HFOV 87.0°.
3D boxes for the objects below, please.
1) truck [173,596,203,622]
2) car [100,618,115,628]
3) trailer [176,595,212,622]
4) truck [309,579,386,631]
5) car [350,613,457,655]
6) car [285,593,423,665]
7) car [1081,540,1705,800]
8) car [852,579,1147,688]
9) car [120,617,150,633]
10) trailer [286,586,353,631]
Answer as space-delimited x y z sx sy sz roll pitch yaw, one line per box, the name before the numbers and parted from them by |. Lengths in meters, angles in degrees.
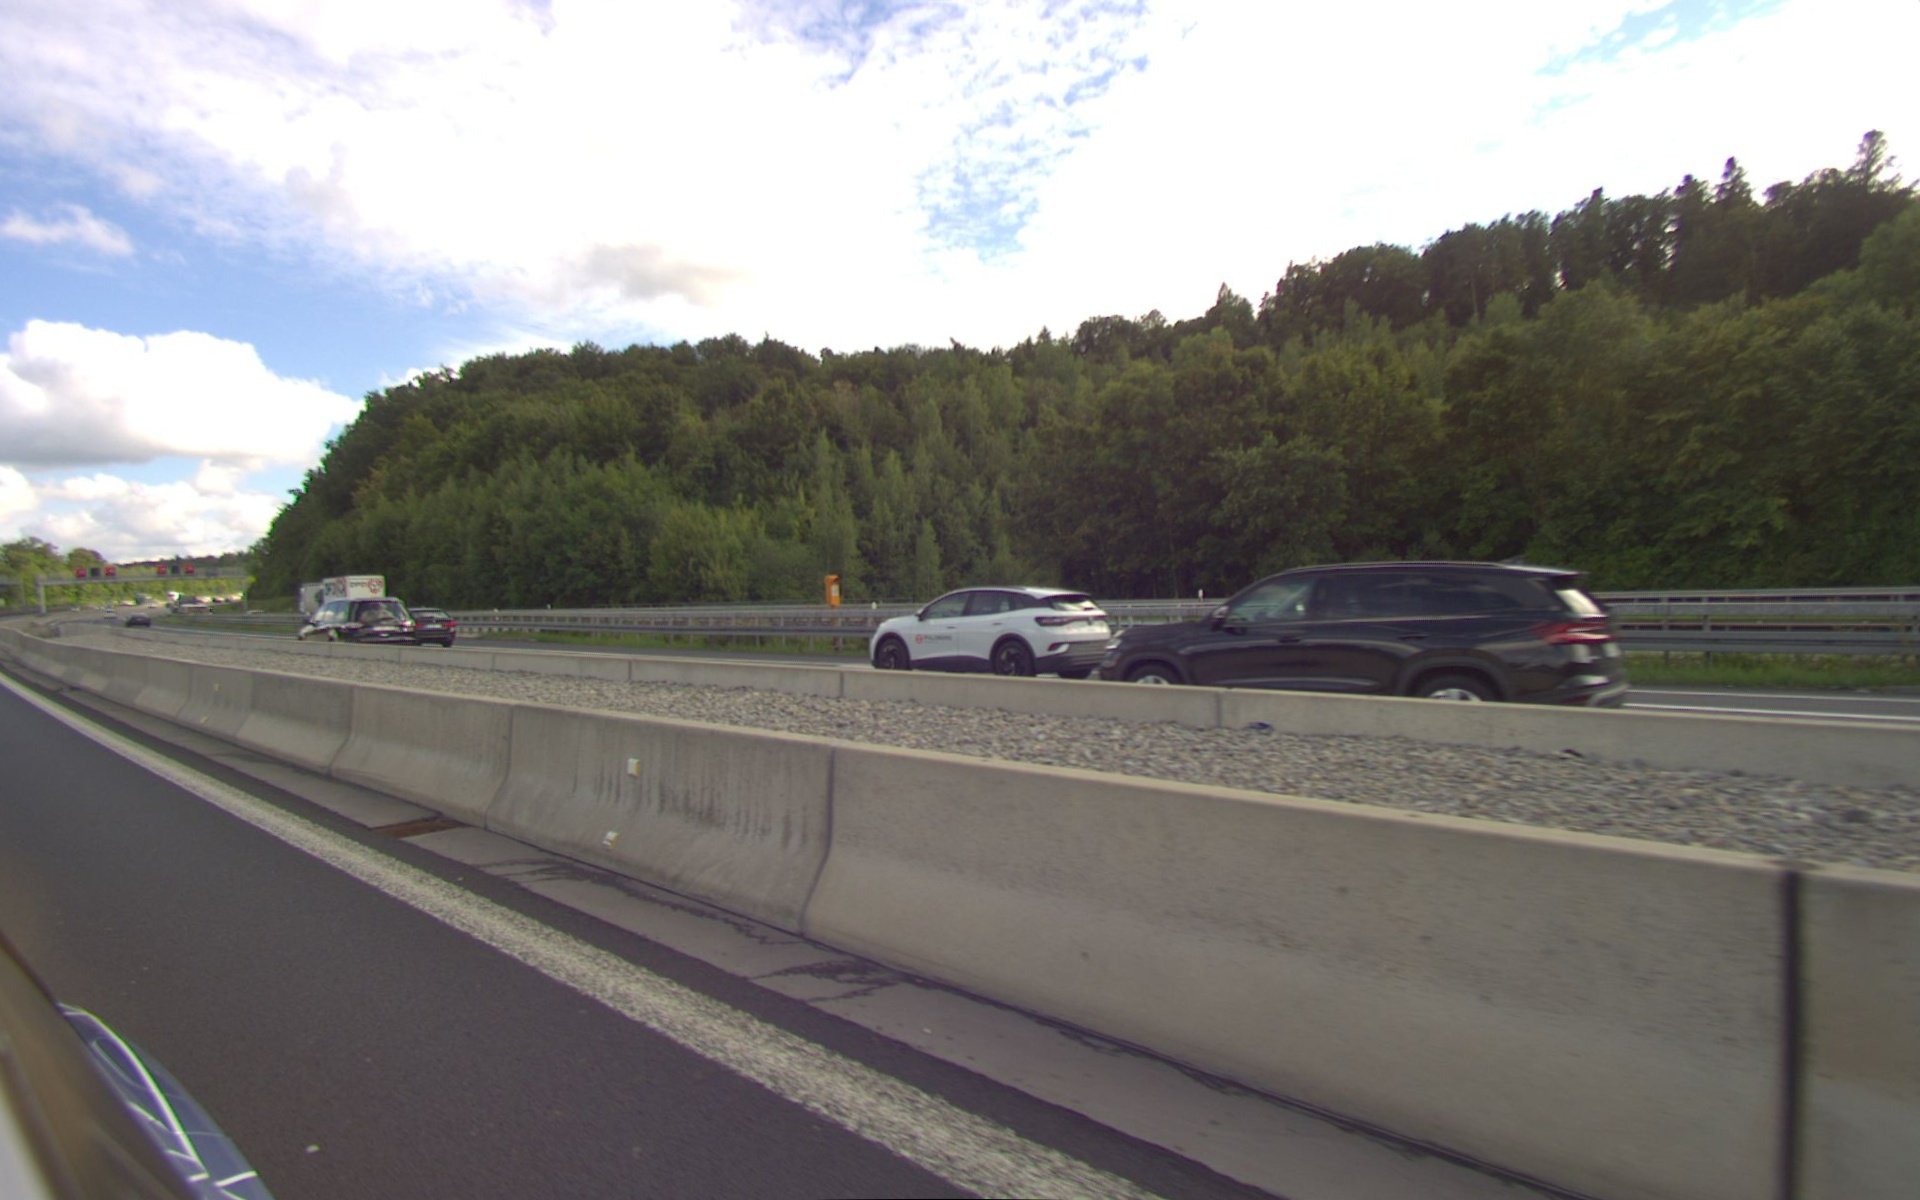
truck | -117.931 1.389 154.567 2.777 3.855 7.135 -1 0 -43
car | -146.509 4.005 173.852 1.693 1.539 4.771 -1 1 -44
trailer | -113.571 1.280 149.970 2.780 3.835 12.198 -1 0 -44
truck | -50.146 0.351 82.726 10.469 3.998 2.869 1 1 44
car | -20.541 1.221 37.289 4.811 1.413 1.972 -1 0 42
car | -16.141 0.745 26.826 4.967 1.716 1.865 -1 0 43
car | 3.707 0.521 9.345 4.951 1.798 1.866 -1 0 42
car | 0.538 0.531 17.347 4.963 1.622 1.867 -1 0 41
car | -83.029 2.474 101.785 1.853 1.458 5.125 -1 1 -45
trailer | -65.623 0.742 103.463 3.283 4.324 12.148 -1 1 -45
